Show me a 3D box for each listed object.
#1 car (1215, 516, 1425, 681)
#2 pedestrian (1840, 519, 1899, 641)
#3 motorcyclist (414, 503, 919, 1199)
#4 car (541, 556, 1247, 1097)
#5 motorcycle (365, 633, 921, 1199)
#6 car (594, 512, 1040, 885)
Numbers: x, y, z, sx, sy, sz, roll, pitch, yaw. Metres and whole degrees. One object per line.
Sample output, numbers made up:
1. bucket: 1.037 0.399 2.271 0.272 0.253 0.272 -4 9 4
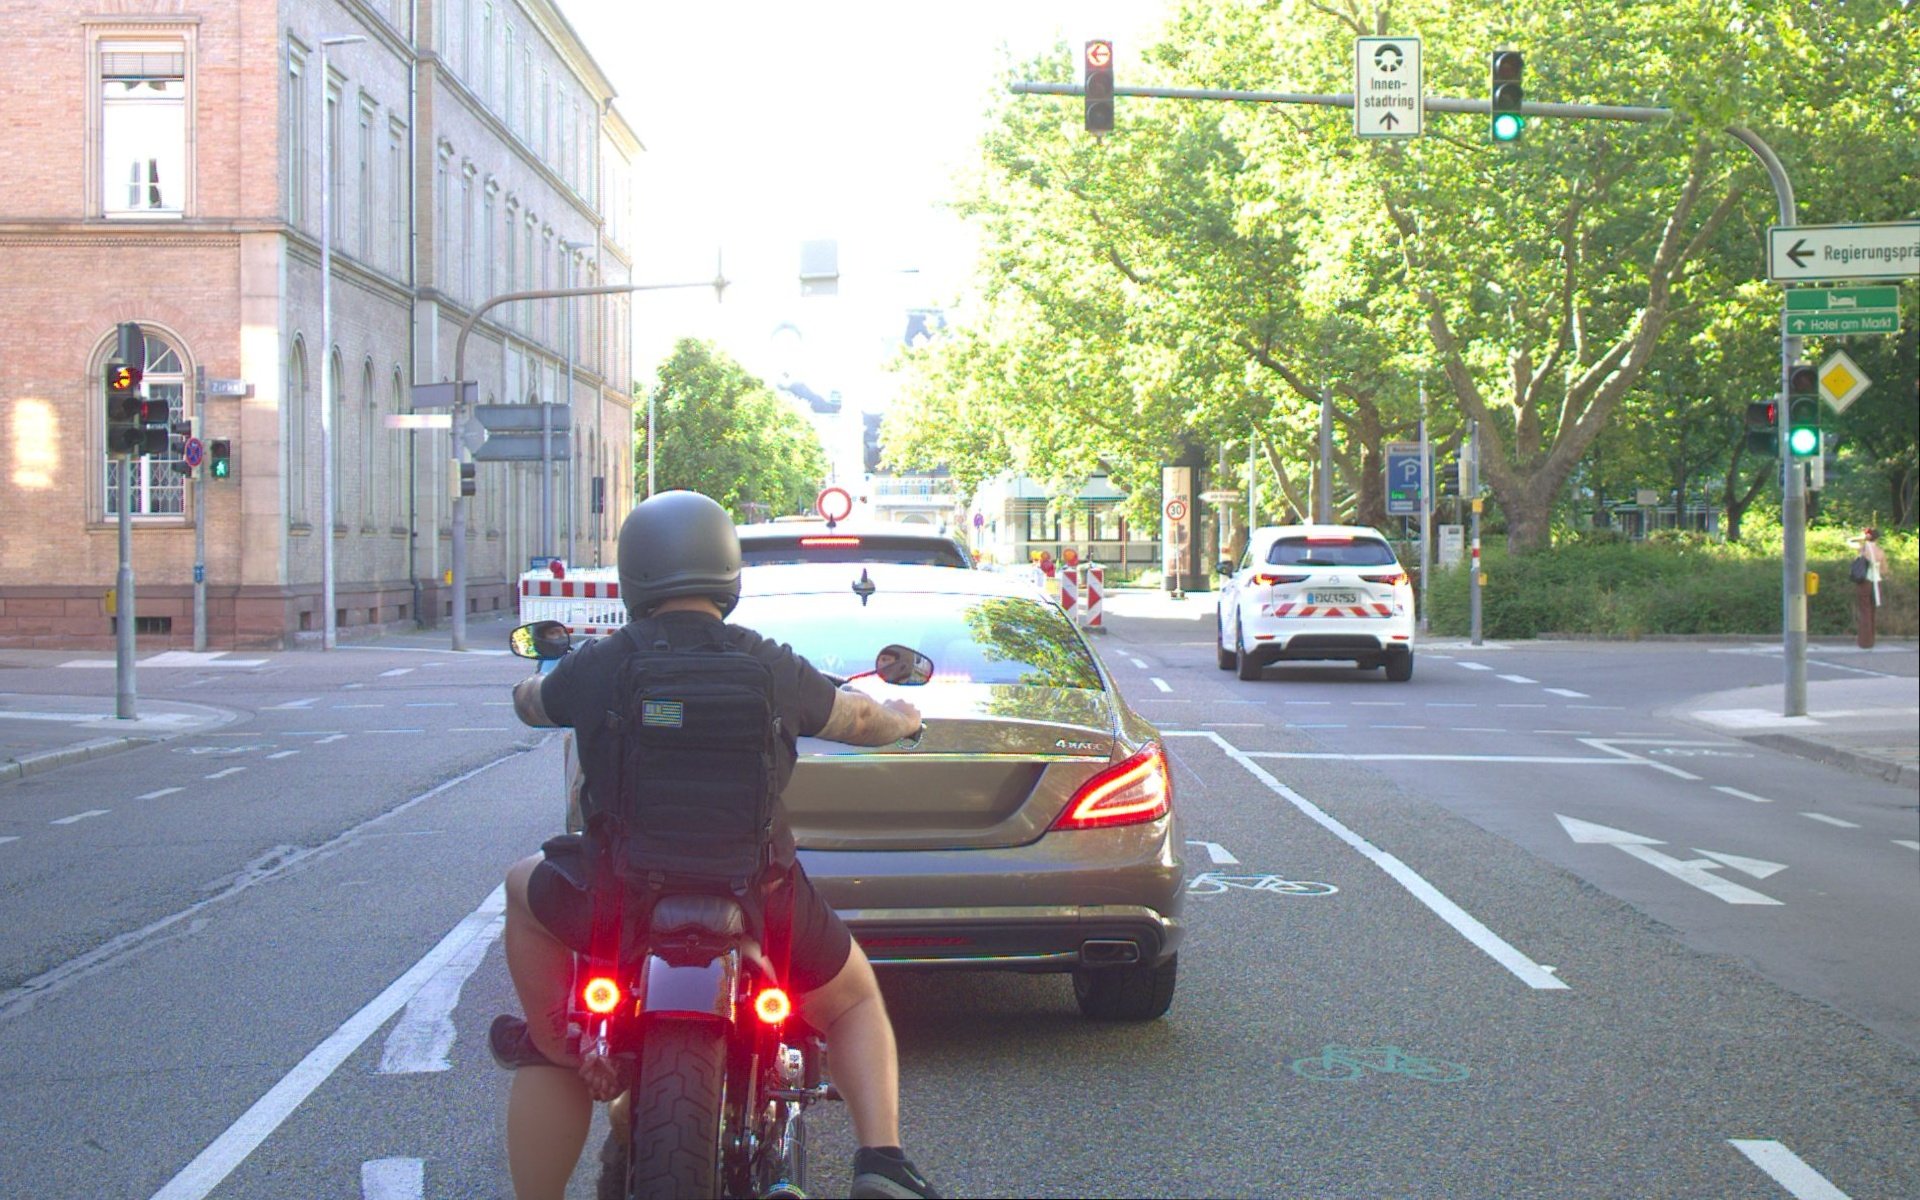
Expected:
1. car: 3.995 -0.062 38.805 1.943 1.702 4.483 1 1 1
2. pedestrian: 13.321 -0.301 50.333 0.678 1.766 0.616 1 0 29
3. motorcyclist: -0.578 0.586 7.316 0.980 1.573 1.248 0 1 -1
4. car: -0.433 0.583 11.619 1.869 1.439 4.431 0 1 -8
5. motorcycle: -0.574 0.738 7.281 0.980 1.271 2.407 0 1 -1
6. car: -0.668 0.425 17.541 1.993 1.660 4.000 1 1 -1
